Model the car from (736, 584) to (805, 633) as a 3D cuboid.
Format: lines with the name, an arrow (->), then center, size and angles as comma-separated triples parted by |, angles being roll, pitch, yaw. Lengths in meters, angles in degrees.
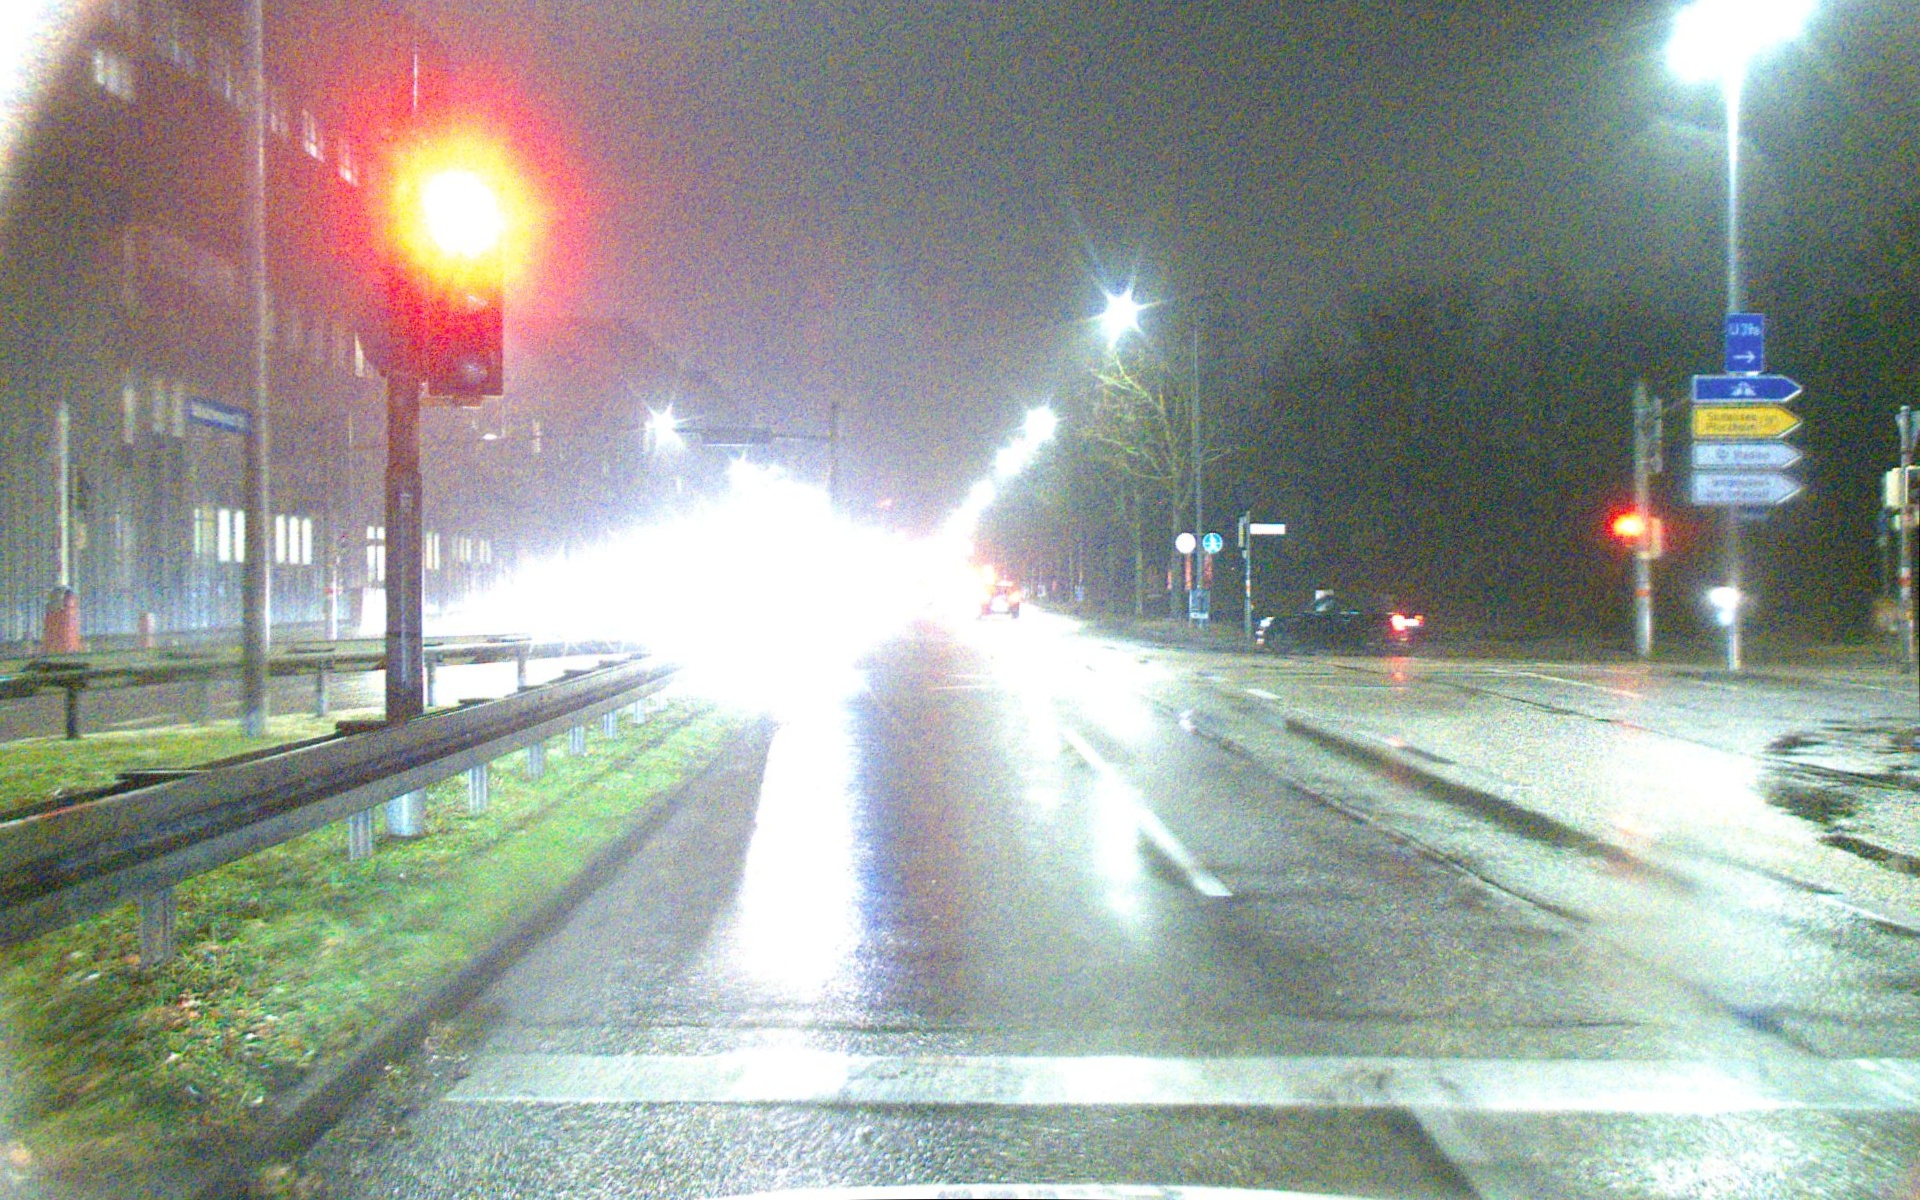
car -> -6.601, 0.316, 58.215 | 1.953, 1.638, 4.969 | 0, 0, -1

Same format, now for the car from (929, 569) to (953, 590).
car -> -2.145, -2.302, 184.634 | 2.393, 2.232, 5.075 | 0, 0, -4

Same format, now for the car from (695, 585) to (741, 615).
car -> -13.006, 0.002, 89.019 | 1.847, 1.579, 4.432 | 0, 0, -1

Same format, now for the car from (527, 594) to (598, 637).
car -> -15.071, 0.578, 62.910 | 1.764, 1.591, 3.999 | 0, 0, -1

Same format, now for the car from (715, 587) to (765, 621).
car -> -10.481, 0.210, 78.943 | 1.847, 1.579, 4.432 | 0, 0, -1

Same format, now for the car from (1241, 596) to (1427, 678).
car -> 8.711, 0.831, 38.515 | 3.908, 1.811, 1.907 | 0, -1, 25

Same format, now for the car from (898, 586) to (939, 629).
car -> -2.036, 0.385, 81.507 | 1.953, 2.049, 3.999 | 0, 0, -1

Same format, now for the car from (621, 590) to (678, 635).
car -> -12.721, 0.504, 67.949 | 1.715, 1.738, 4.496 | -1, 0, -3

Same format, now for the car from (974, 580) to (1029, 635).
car -> 1.713, 0.322, 69.170 | 2.163, 2.253, 3.642 | 0, -1, -1

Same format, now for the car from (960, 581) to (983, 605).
car -> 1.028, -0.574, 145.702 | 1.996, 2.049, 4.307 | 0, 0, 1
